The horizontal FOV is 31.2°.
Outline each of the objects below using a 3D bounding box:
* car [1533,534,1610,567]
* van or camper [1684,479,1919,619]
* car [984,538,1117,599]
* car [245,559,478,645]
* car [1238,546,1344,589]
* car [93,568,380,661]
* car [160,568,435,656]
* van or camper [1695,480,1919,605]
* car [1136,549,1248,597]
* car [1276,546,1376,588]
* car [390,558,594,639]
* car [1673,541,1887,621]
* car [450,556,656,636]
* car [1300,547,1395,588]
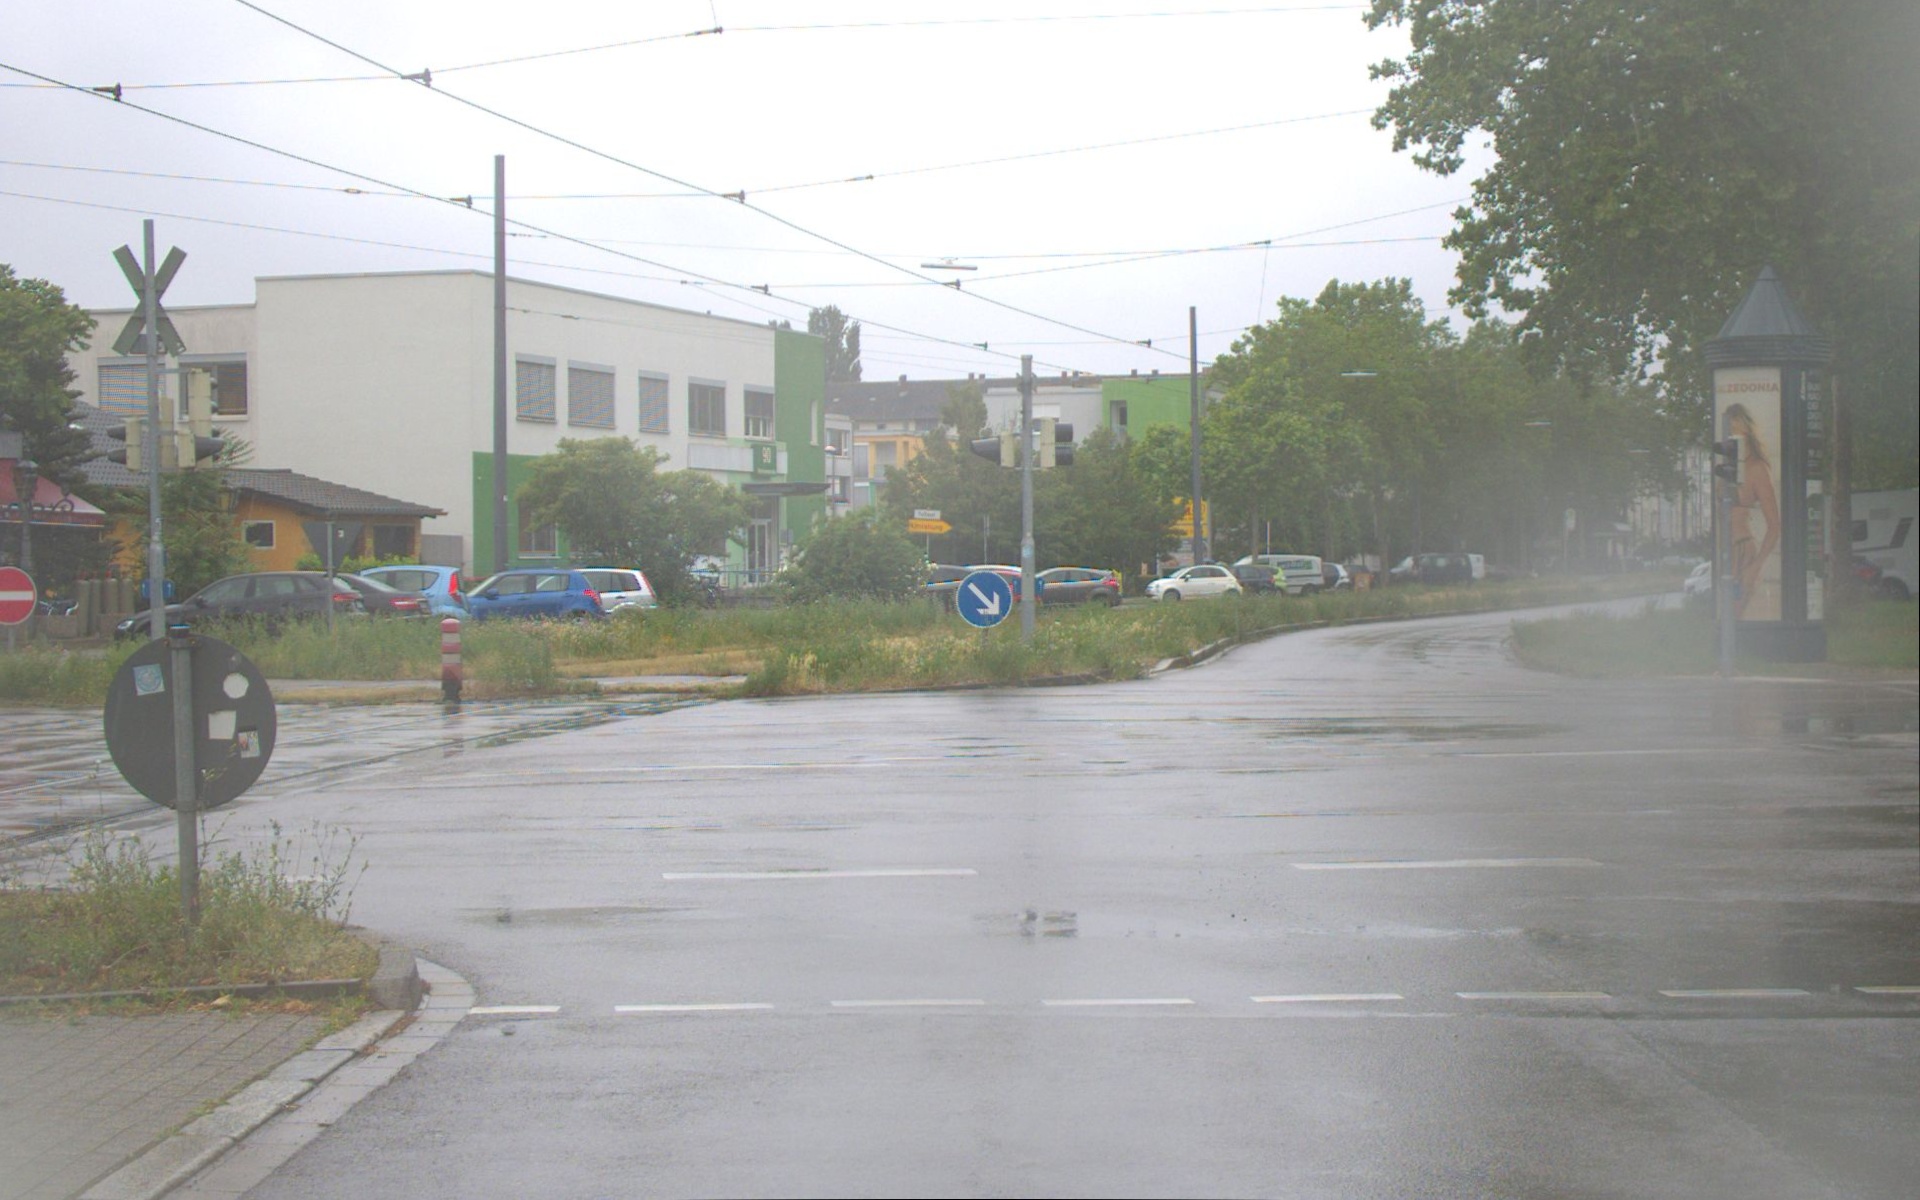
[{"bbox_3d":[35.323,-2.861,198.696,3.986,1.826,2.000,1,0,-5],"label":"car"},{"bbox_3d":[20.890,-1.176,80.564,7.328,3.167,3.259,1,1,18],"label":"van or camper"},{"bbox_3d":[2.882,-1.010,110.003,3.986,1.881,2.000,1,0,-7],"label":"car"},{"bbox_3d":[-11.248,0.030,64.797,3.987,1.576,1.858,0,0,4],"label":"car"},{"bbox_3d":[13.945,-1.381,144.881,3.986,1.752,2.011,1,0,-11],"label":"car"},{"bbox_3d":[-12.383,0.231,59.002,4.477,1.413,1.858,-2,0,1],"label":"car"},{"bbox_3d":[-11.797,0.199,61.409,4.497,1.413,1.858,-2,0,1],"label":"car"},{"bbox_3d":[23.220,-1.487,89.716,7.434,3.167,3.259,1,1,22],"label":"van or camper"},{"bbox_3d":[8.533,-1.006,126.665,3.773,1.697,1.837,1,0,-10],"label":"car"},{"bbox_3d":[16.380,-1.473,153.858,3.986,1.826,2.001,1,0,-11],"label":"car"},{"bbox_3d":[-9.511,-0.042,69.761,3.986,1.576,1.930,0,0,-11],"label":"car"},{"bbox_3d":[18.507,-0.441,77.594,4.449,1.711,1.998,1,1,21],"label":"car"},{"bbox_3d":[-8.641,-0.090,72.925,4.107,1.635,1.930,-1,0,-14],"label":"car"},{"bbox_3d":[17.901,-1.503,158.928,3.986,1.826,2.000,1,0,-5],"label":"car"}]
